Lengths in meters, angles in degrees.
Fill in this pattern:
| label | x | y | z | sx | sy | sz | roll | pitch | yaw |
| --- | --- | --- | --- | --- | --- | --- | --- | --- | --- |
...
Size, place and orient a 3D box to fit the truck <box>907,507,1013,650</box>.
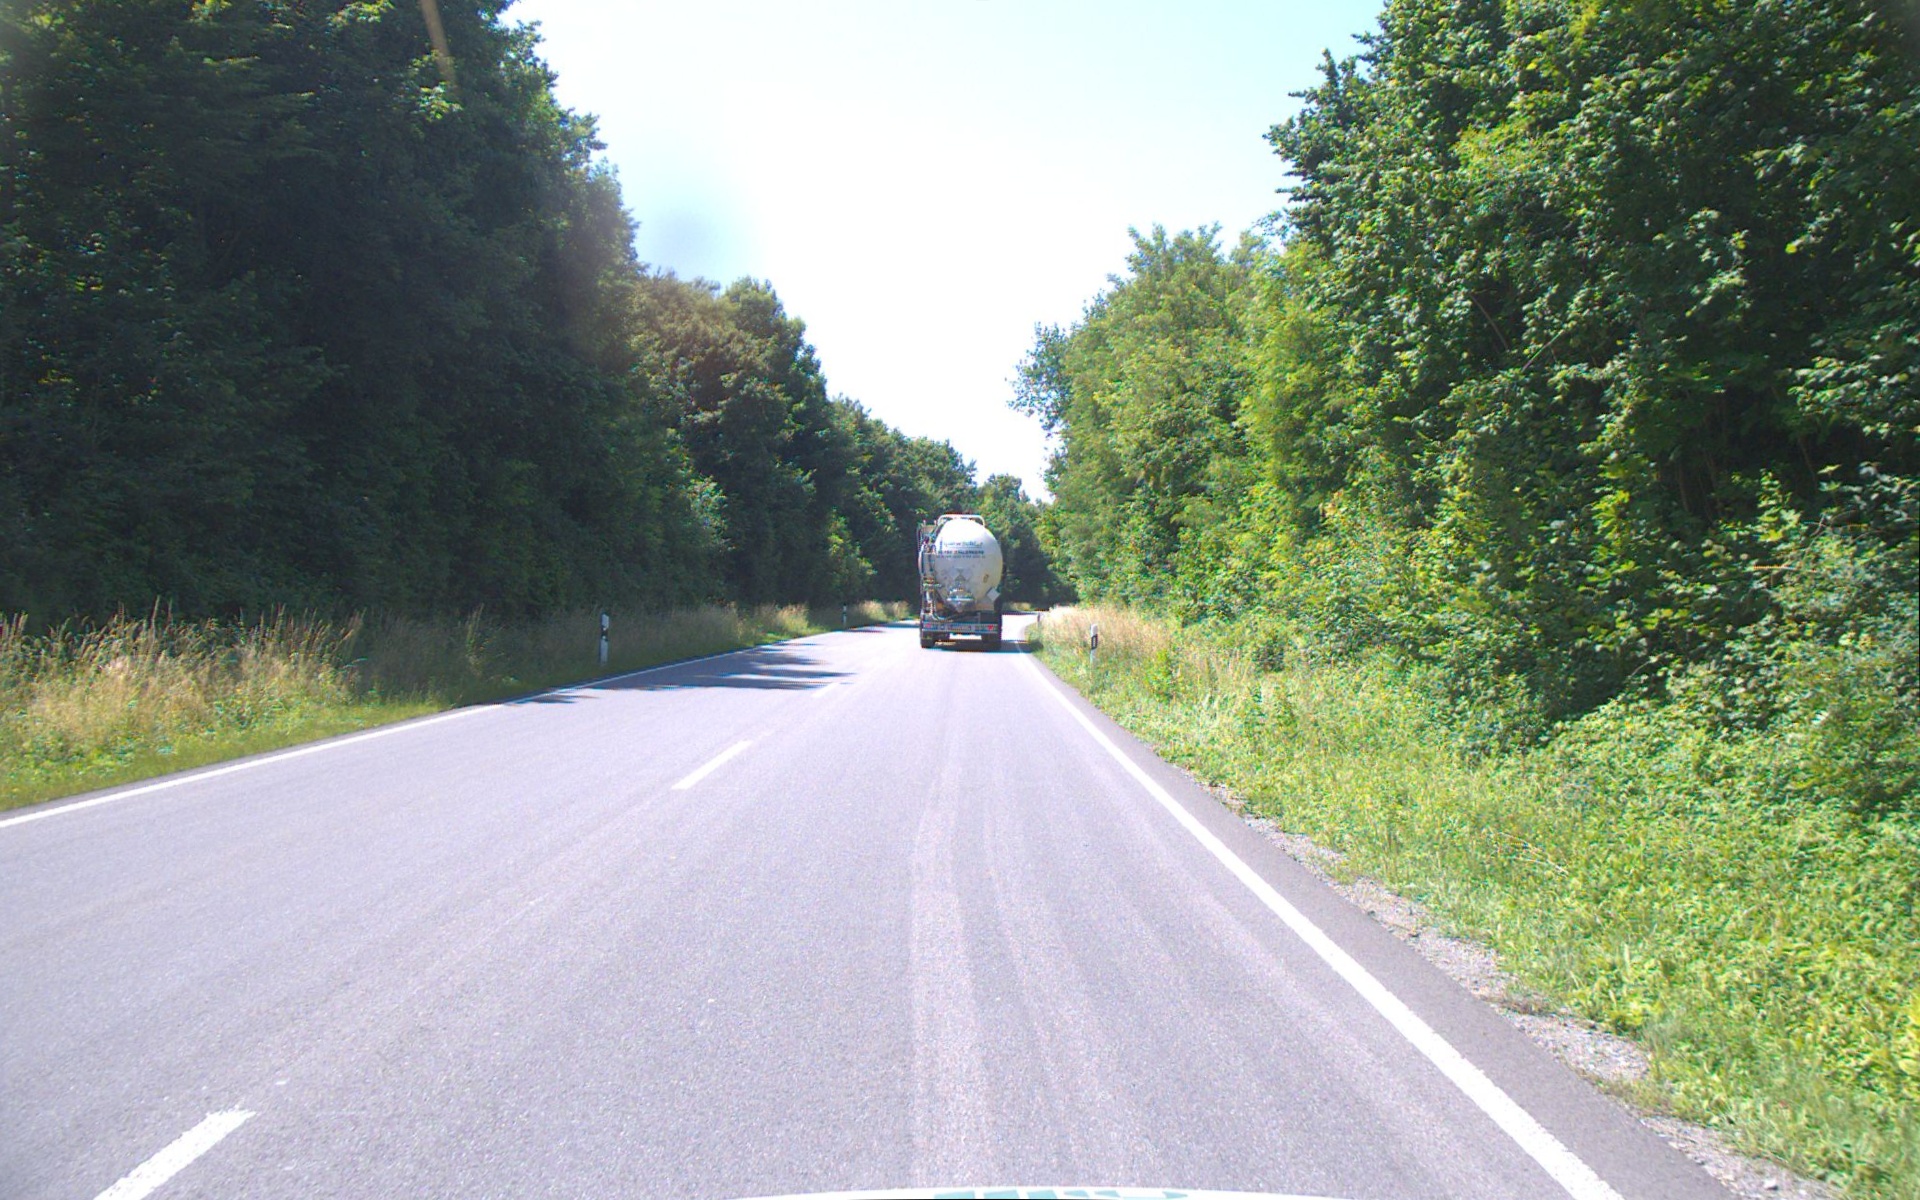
| label | x | y | z | sx | sy | sz | roll | pitch | yaw |
| --- | --- | --- | --- | --- | --- | --- | --- | --- | --- |
| truck | -0.067 | -0.641 | 55.478 | 2.987 | 4.068 | 15.634 | 1 | 0 | -1 |
